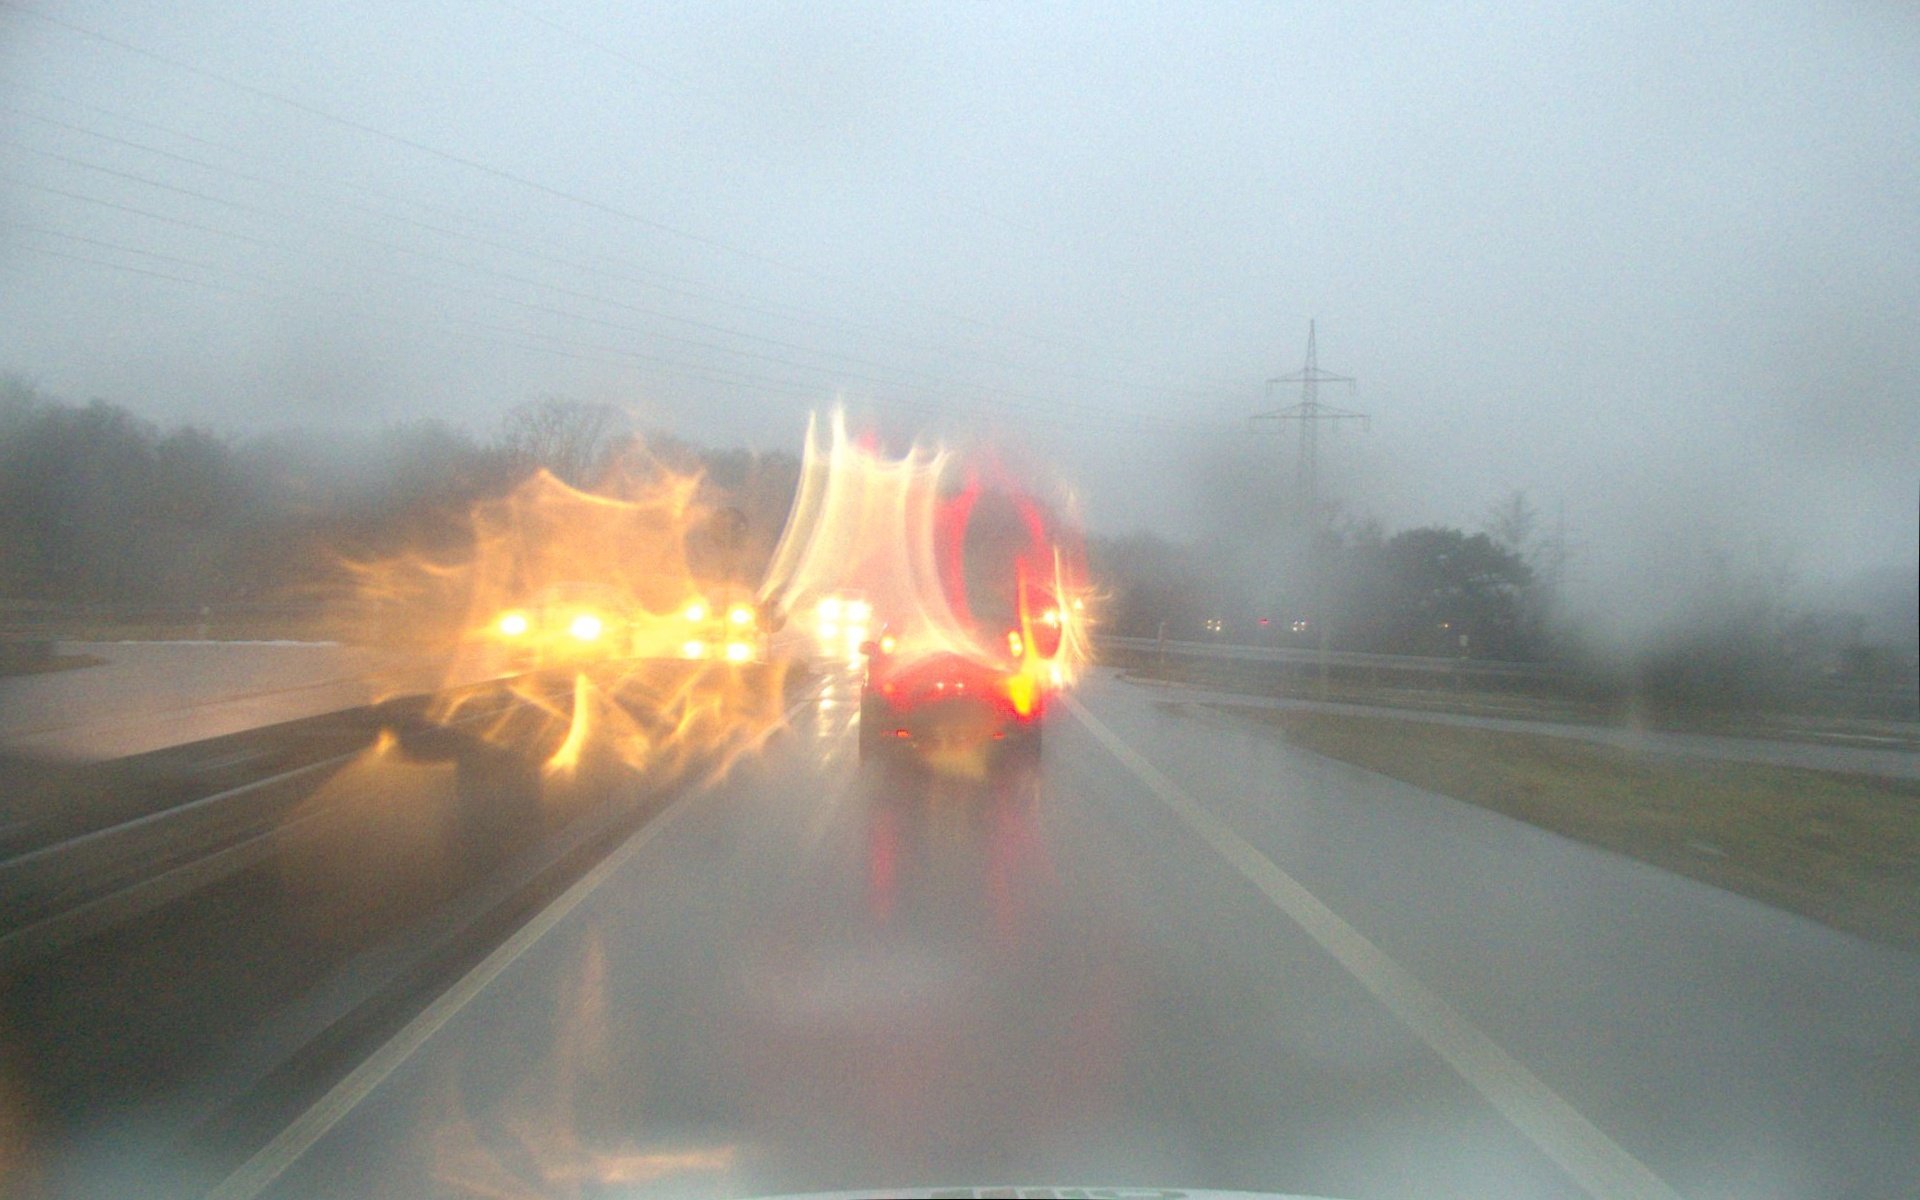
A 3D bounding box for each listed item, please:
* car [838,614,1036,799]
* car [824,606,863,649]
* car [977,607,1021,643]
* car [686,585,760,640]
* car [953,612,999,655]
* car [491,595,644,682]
[{"bbox_3d":[-0.196,0.929,16.162,1.695,1.559,4.042,0,0,0],"label":"car"},{"bbox_3d":[-6.037,1.383,86.231,1.834,2.175,5.177,0,0,-2],"label":"car"},{"bbox_3d":[2.245,1.411,93.713,1.907,1.773,4.003,8,0,7],"label":"car"},{"bbox_3d":[-6.941,0.361,48.773,1.613,1.527,4.000,0,0,0],"label":"car"},{"bbox_3d":[0.776,1.511,75.962,1.906,1.775,4.001,4,0,2],"label":"car"},{"bbox_3d":[-7.287,0.678,31.127,1.953,1.498,4.470,1,0,-2],"label":"car"}]
